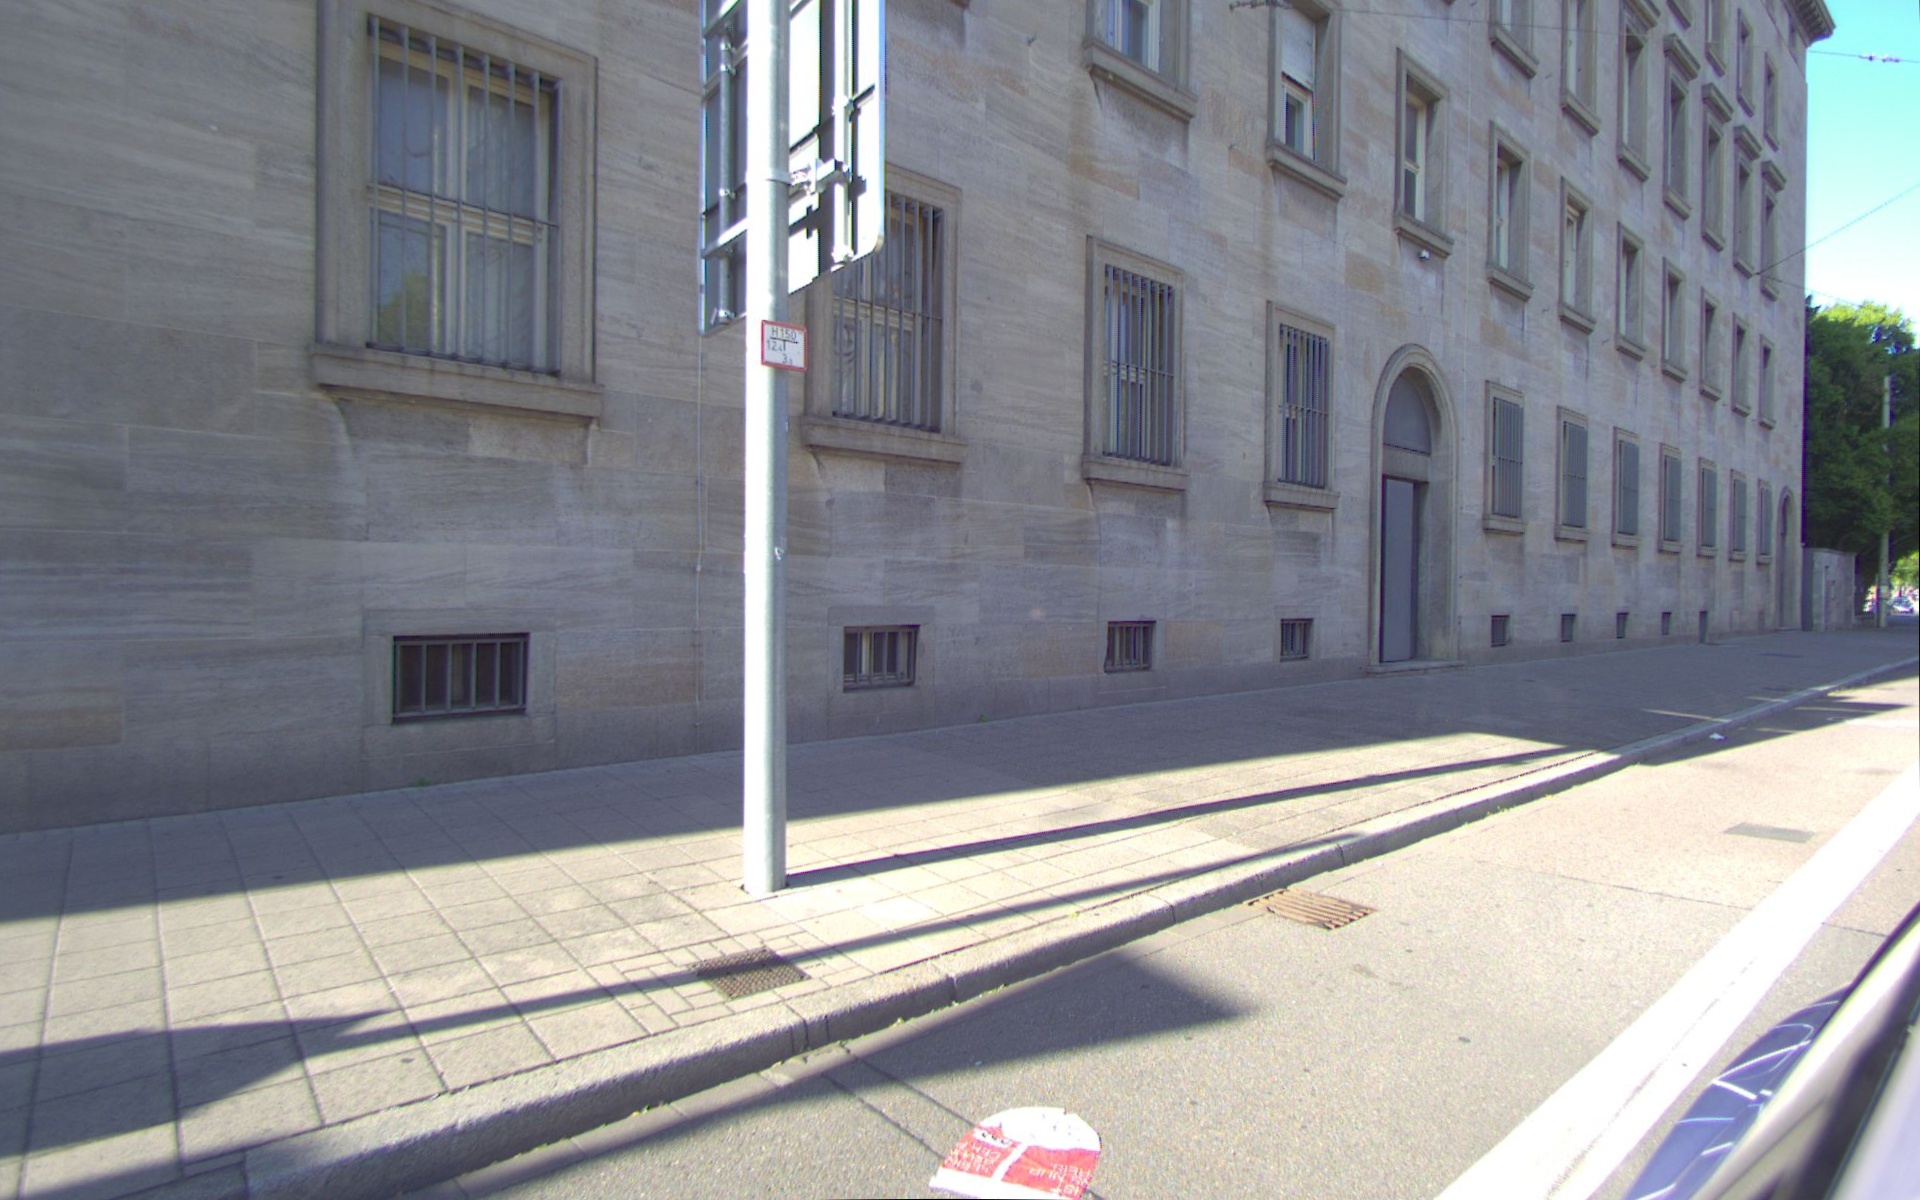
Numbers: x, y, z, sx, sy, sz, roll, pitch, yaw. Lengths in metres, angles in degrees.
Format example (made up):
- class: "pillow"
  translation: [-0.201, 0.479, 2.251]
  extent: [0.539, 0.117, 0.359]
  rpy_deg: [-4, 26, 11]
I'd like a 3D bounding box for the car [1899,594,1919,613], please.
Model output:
- class: "car"
  translation: [98.133, 0.351, 104.107]
  extent: [1.990, 1.794, 3.943]
  rpy_deg: [1, 1, 39]
